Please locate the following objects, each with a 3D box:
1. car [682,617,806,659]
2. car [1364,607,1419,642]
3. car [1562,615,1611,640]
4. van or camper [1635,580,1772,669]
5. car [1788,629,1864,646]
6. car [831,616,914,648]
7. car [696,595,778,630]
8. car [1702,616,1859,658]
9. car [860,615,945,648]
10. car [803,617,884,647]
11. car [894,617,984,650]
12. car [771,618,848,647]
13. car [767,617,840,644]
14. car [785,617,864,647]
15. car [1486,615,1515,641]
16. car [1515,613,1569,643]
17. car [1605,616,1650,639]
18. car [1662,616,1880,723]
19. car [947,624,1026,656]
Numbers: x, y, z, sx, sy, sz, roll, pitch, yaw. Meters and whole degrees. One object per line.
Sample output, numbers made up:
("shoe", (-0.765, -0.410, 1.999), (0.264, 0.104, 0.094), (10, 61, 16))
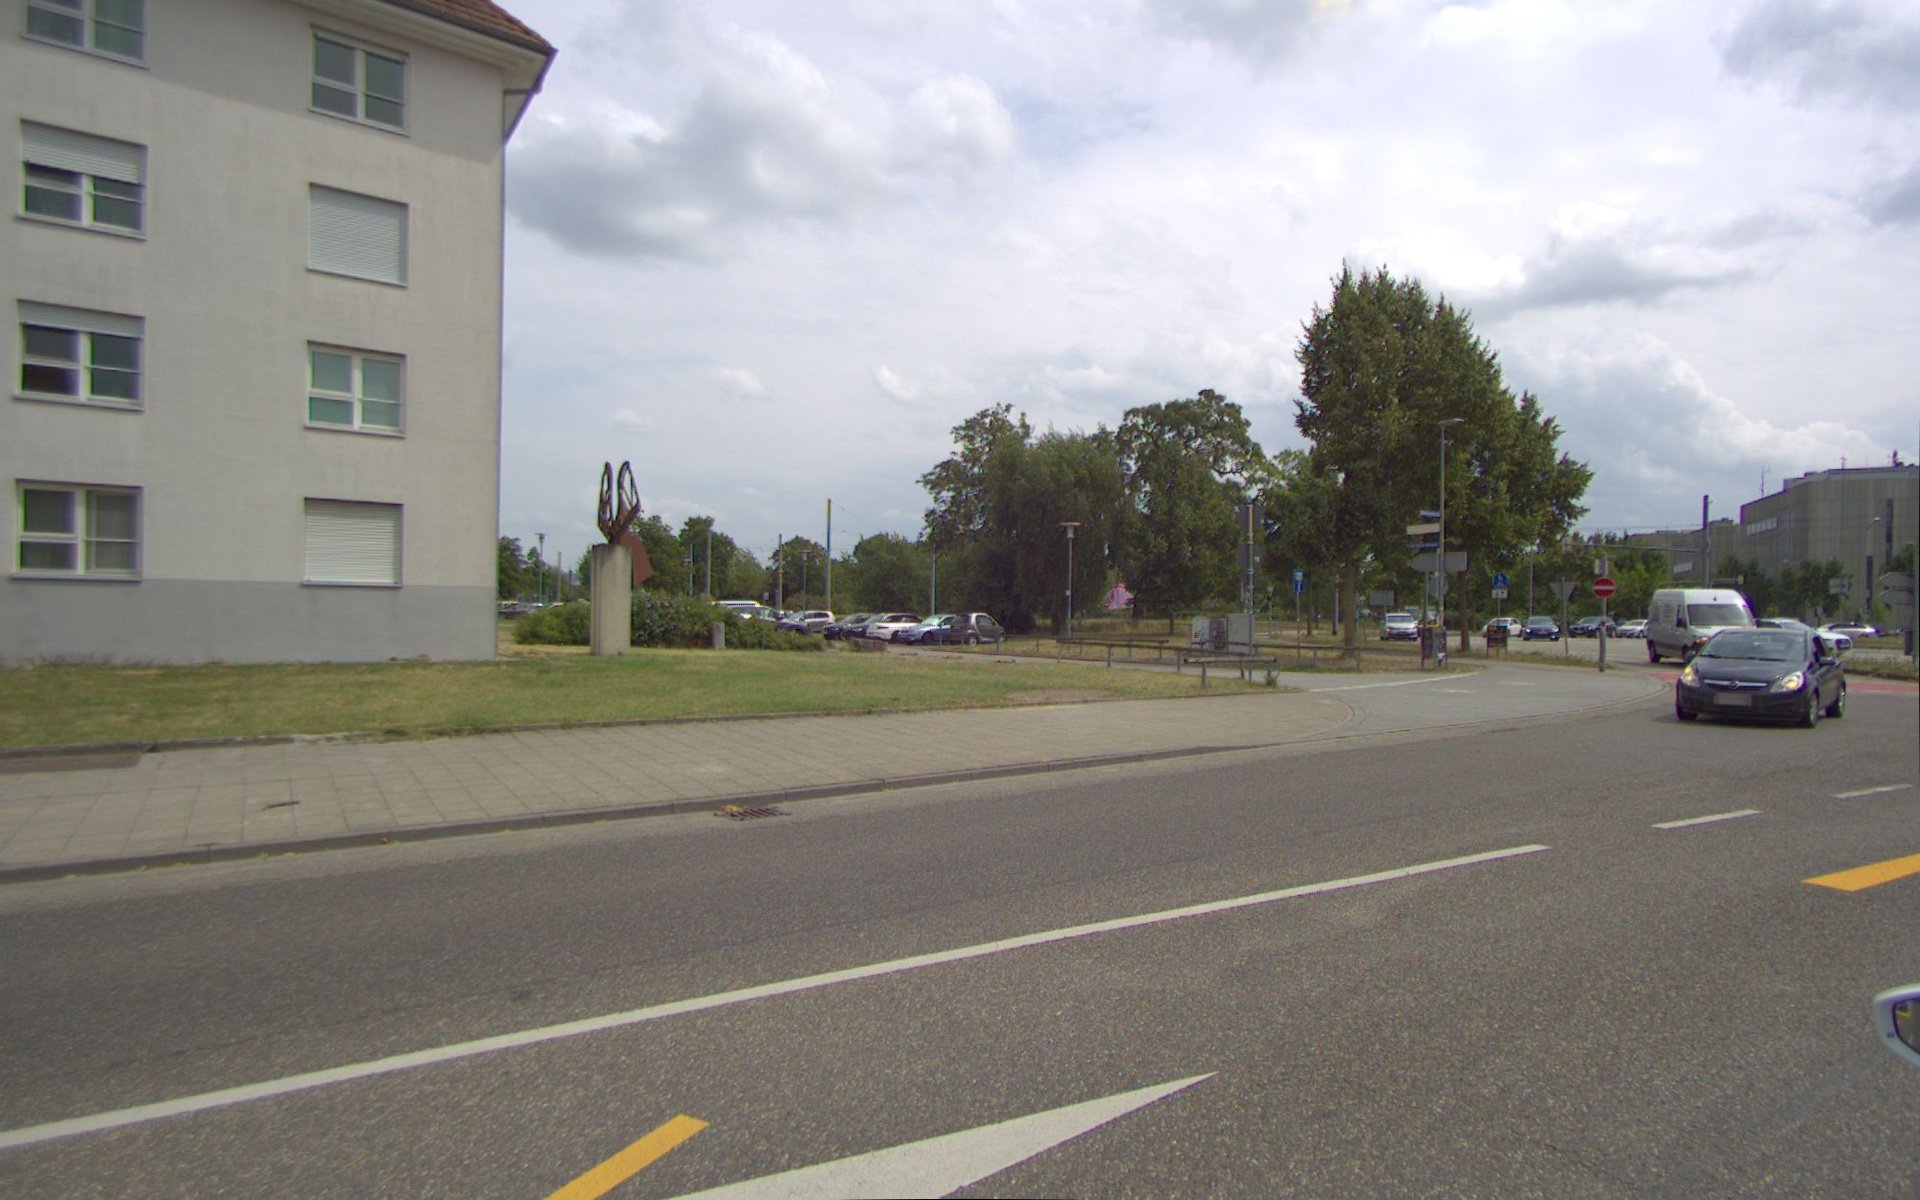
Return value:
("car", (-8.357, 1.450, 39.009), (4.402, 1.529, 1.798), (0, -1, -34))
("car", (25.963, 1.494, 60.608), (1.959, 2.040, 4.003), (-1, -2, 6))
("car", (46.369, 2.067, 74.321), (3.963, 1.795, 1.749), (1, -2, -37))
("van or camper", (25.248, 0.842, 34.417), (2.115, 2.761, 6.277), (-1, -2, 21))
("car", (64.608, 2.815, 74.999), (3.920, 1.208, 1.687), (-1, -2, 16))
("car", (-4.624, 1.660, 53.302), (4.101, 1.612, 1.796), (1, -1, -37))
("car", (-16.091, 0.924, 72.646), (5.494, 2.499, 2.085), (1, -1, -37))
("car", (34.372, 1.505, 42.302), (1.833, 1.600, 5.029), (1, 0, -14))
("car", (-2.927, 1.591, 51.553), (4.101, 1.612, 1.796), (1, -1, -37))
("car", (-6.392, 1.735, 55.100), (4.101, 1.612, 1.796), (1, -1, -37))
("car", (-1.024, 1.632, 49.378), (4.095, 1.529, 1.798), (0, -1, -33))
("car", (-8.782, 1.868, 58.697), (4.101, 1.612, 1.796), (1, -1, -37))
("car", (-9.551, 1.864, 61.529), (4.101, 1.612, 1.796), (1, -1, -37))
("car", (-7.602, 1.793, 56.654), (4.101, 1.612, 1.796), (1, -1, -37))
("car", (39.832, 2.072, 74.007), (1.736, 1.795, 3.993), (-1, -2, 30))
("car", (35.543, 1.716, 61.467), (1.960, 1.795, 4.002), (-1, -2, 16))
("car", (51.863, 2.143, 78.039), (3.963, 1.795, 1.749), (1, -2, -37))
("car", (13.210, 1.040, 16.290), (4.217, 1.498, 1.759), (1, -1, -37))
("car", (1.282, 1.889, 48.133), (3.603, 1.497, 1.646), (1, -1, -39))
